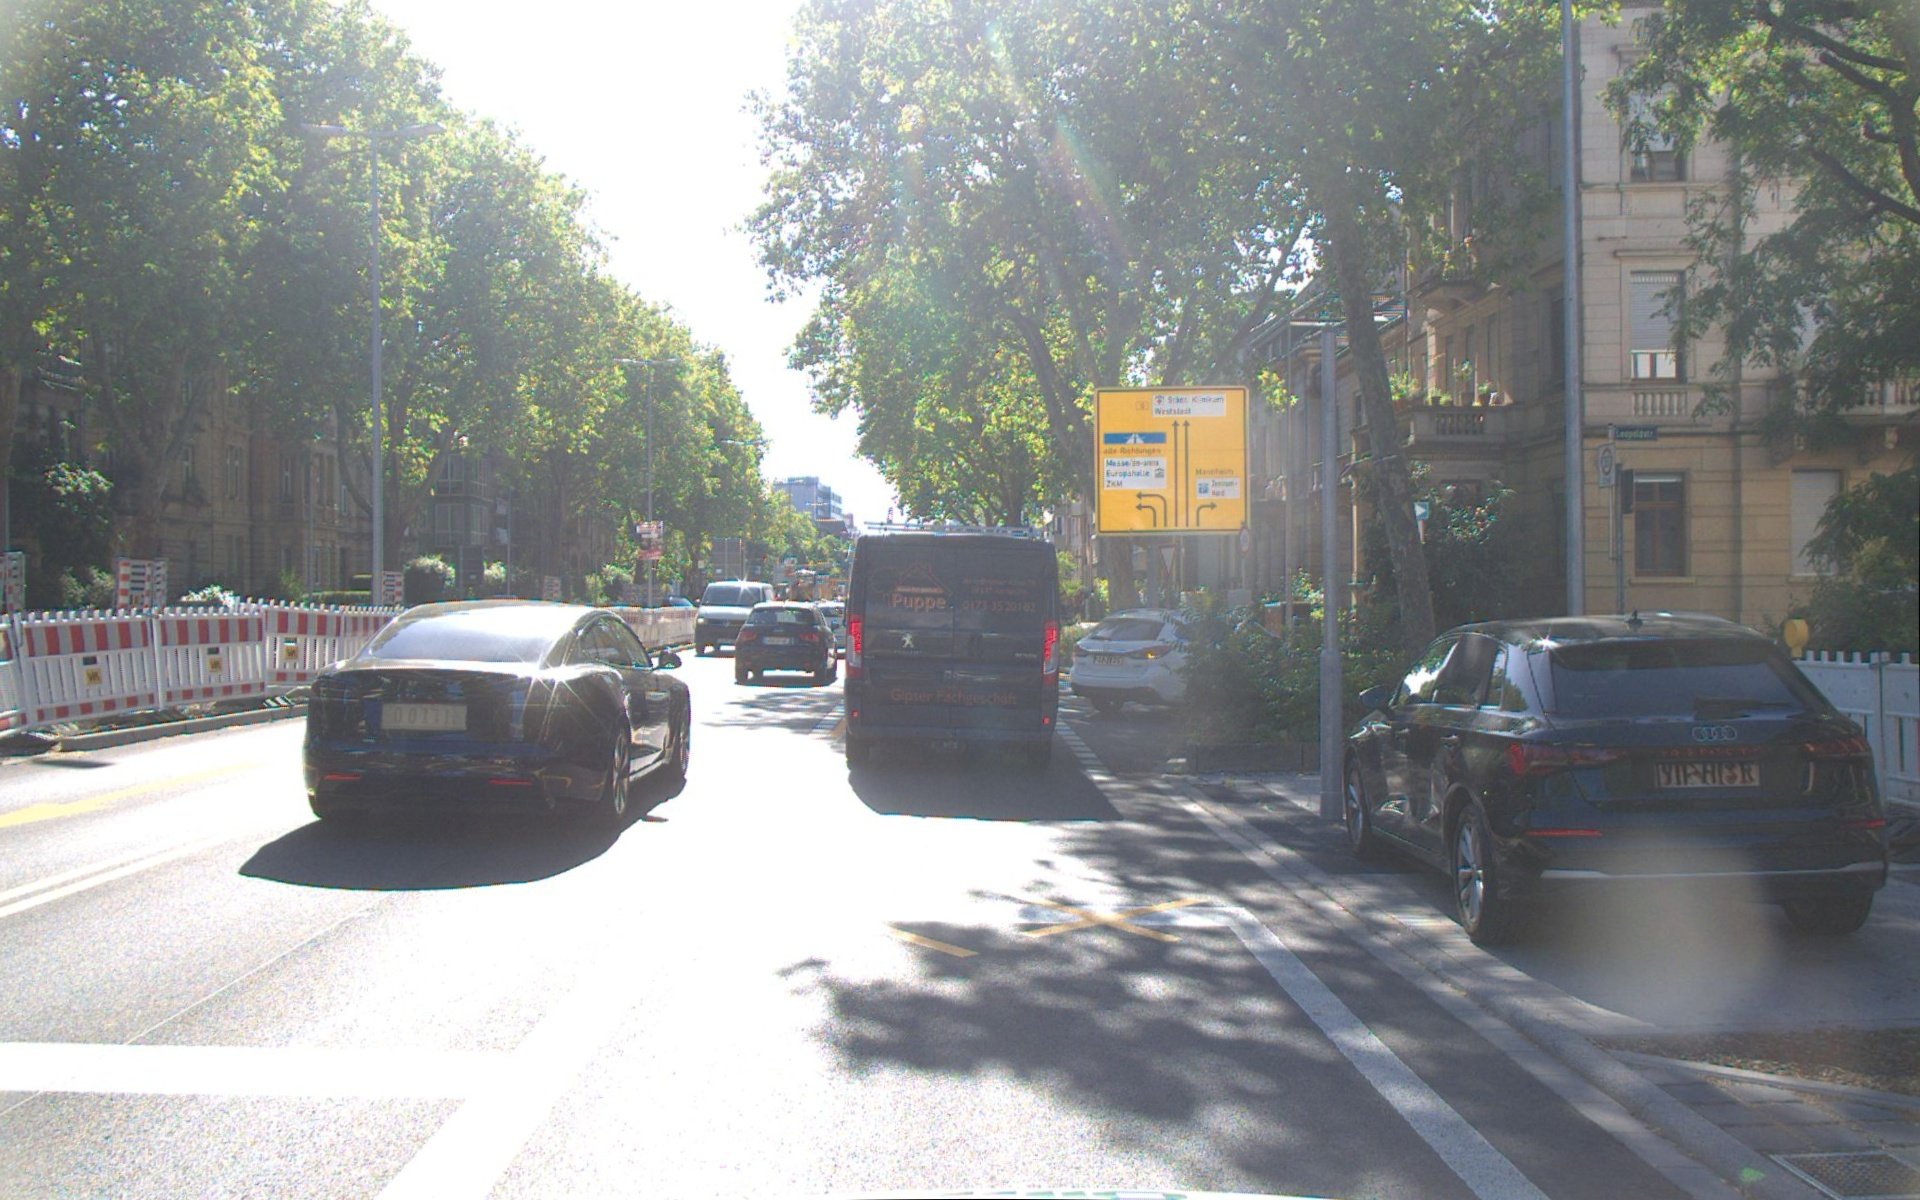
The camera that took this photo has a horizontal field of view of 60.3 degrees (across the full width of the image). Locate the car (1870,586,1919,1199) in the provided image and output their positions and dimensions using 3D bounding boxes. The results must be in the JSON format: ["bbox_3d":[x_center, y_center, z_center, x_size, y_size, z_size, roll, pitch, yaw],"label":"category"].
[{"bbox_3d":[3.058,0.698,1.998,1.587,1.512,4.056,-2,0,-1],"label":"car"}]

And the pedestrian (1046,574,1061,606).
[{"bbox_3d":[7.074,-0.737,124.915,1.036,2.387,0.816,1,-1,2],"label":"pedestrian"}]

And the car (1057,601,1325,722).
[{"bbox_3d":[3.369,0.807,23.640,1.809,1.512,4.029,0,1,44],"label":"car"}]

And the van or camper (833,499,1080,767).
[{"bbox_3d":[-0.121,0.300,17.093,2.200,2.387,4.535,0,0,-2],"label":"van or camper"}]

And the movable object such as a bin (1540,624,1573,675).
[{"bbox_3d":[11.919,0.985,33.063,0.508,0.987,0.398,-1,0,1],"label":"movable object such as a bin"}]

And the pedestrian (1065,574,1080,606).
[{"bbox_3d":[8.398,-0.718,123.845,1.036,2.387,0.816,1,-1,2],"label":"pedestrian"}]

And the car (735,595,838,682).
[{"bbox_3d":[-3.202,0.685,31.036,1.587,1.512,3.733,1,0,-1],"label":"car"}]

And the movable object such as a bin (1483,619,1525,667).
[{"bbox_3d":[11.274,0.885,34.280,0.673,0.987,0.548,-1,0,1],"label":"movable object such as a bin"}]

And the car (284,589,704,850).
[{"bbox_3d":[-3.049,0.693,11.848,1.800,1.509,4.475,0,0,-1],"label":"car"}]

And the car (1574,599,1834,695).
[{"bbox_3d":[13.380,0.824,29.895,3.848,1.588,1.873,0,2,0],"label":"car"}]

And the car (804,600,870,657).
[{"bbox_3d":[-3.395,0.770,46.122,1.587,1.512,3.733,1,0,-1],"label":"car"}]

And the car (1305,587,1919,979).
[{"bbox_3d":[3.085,0.729,8.672,1.587,1.512,4.096,-2,0,-1],"label":"car"}]

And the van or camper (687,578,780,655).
[{"bbox_3d":[-6.301,0.437,46.643,1.953,2.049,5.327,0,0,-1],"label":"van or camper"}]

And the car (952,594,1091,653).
[{"bbox_3d":[1.815,0.698,49.545,3.927,1.596,1.769,2,-1,41],"label":"car"}]
